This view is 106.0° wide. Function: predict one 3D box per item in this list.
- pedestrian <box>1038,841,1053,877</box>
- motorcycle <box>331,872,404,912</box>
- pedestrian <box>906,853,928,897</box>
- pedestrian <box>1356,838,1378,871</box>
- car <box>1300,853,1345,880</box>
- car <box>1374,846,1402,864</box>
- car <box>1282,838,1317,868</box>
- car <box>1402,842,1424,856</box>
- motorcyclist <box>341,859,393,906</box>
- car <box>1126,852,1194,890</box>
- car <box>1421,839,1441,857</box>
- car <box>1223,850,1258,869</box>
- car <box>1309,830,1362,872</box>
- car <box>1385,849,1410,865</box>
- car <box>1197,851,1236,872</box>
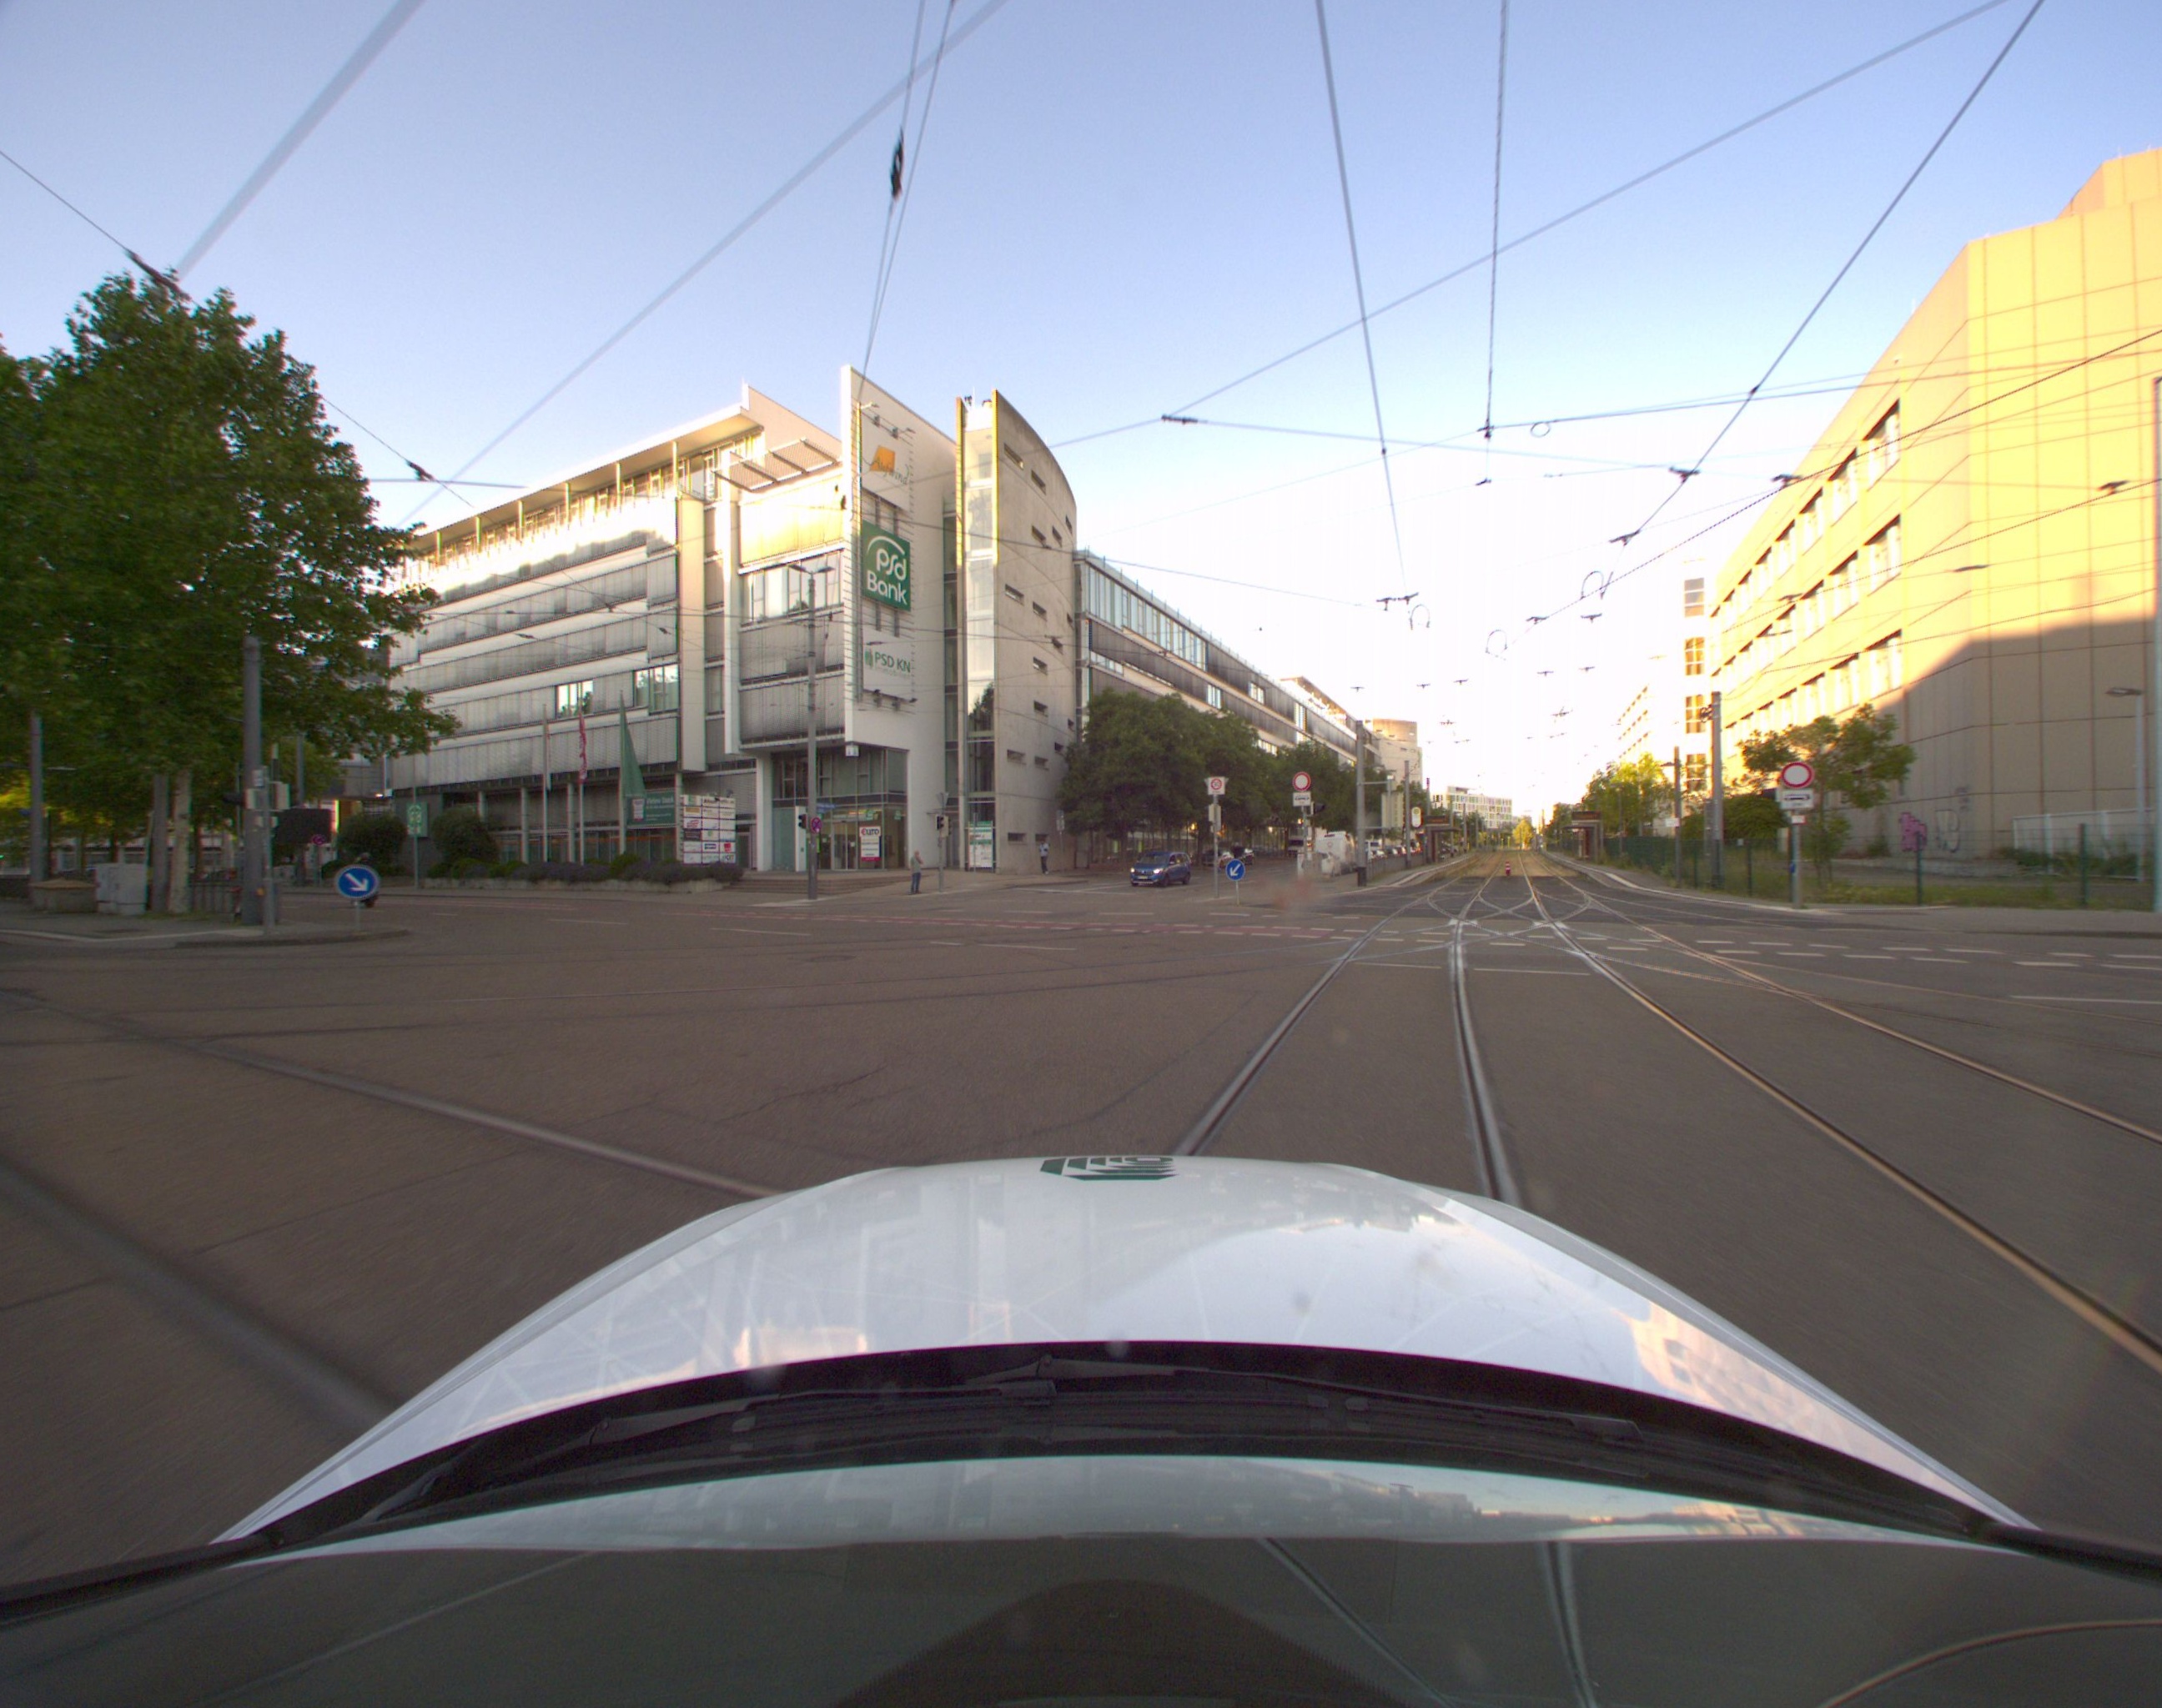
[{"bbox_3d":[-1.917,0.294,44.030,0.656,1.922,0.550,-1,0,17],"label":"pedestrian"},{"bbox_3d":[-23.594,1.227,26.925,2.461,1.240,0.835,-1,0,24],"label":"motorcycle"},{"bbox_3d":[-6.542,0.832,32.498,0.541,1.711,0.664,-1,0,38],"label":"pedestrian"},{"bbox_3d":[18.065,0.022,51.541,1.036,2.030,0.984,-1,0,0],"label":"pedestrian"},{"bbox_3d":[13.724,0.669,46.140,1.667,1.439,4.151,-1,0,28],"label":"car"},{"bbox_3d":[25.737,0.084,68.274,1.667,1.439,4.151,-1,0,28],"label":"car"},{"bbox_3d":[23.614,-0.102,87.845,2.180,3.151,6.180,-1,0,29],"label":"car"},{"bbox_3d":[35.148,-0.518,86.172,1.667,1.439,4.151,-1,0,28],"label":"car"},{"bbox_3d":[-23.598,0.928,26.917,1.192,1.473,0.835,-1,0,24],"label":"motorcyclist"},{"bbox_3d":[3.878,0.788,39.363,1.667,1.699,4.265,-1,0,30],"label":"car"},{"bbox_3d":[41.308,-0.749,96.061,1.975,2.013,4.024,-1,0,26],"label":"car"},{"bbox_3d":[13.426,0.447,68.319,1.667,1.501,4.265,-1,0,29],"label":"car"},{"bbox_3d":[16.134,-0.178,51.401,2.439,2.482,5.841,-1,0,24],"label":"car"},{"bbox_3d":[29.507,0.263,75.960,1.667,1.439,4.151,-1,0,28],"label":"car"},{"bbox_3d":[10.513,0.555,63.036,1.667,1.501,4.265,-1,0,29],"label":"car"}]
